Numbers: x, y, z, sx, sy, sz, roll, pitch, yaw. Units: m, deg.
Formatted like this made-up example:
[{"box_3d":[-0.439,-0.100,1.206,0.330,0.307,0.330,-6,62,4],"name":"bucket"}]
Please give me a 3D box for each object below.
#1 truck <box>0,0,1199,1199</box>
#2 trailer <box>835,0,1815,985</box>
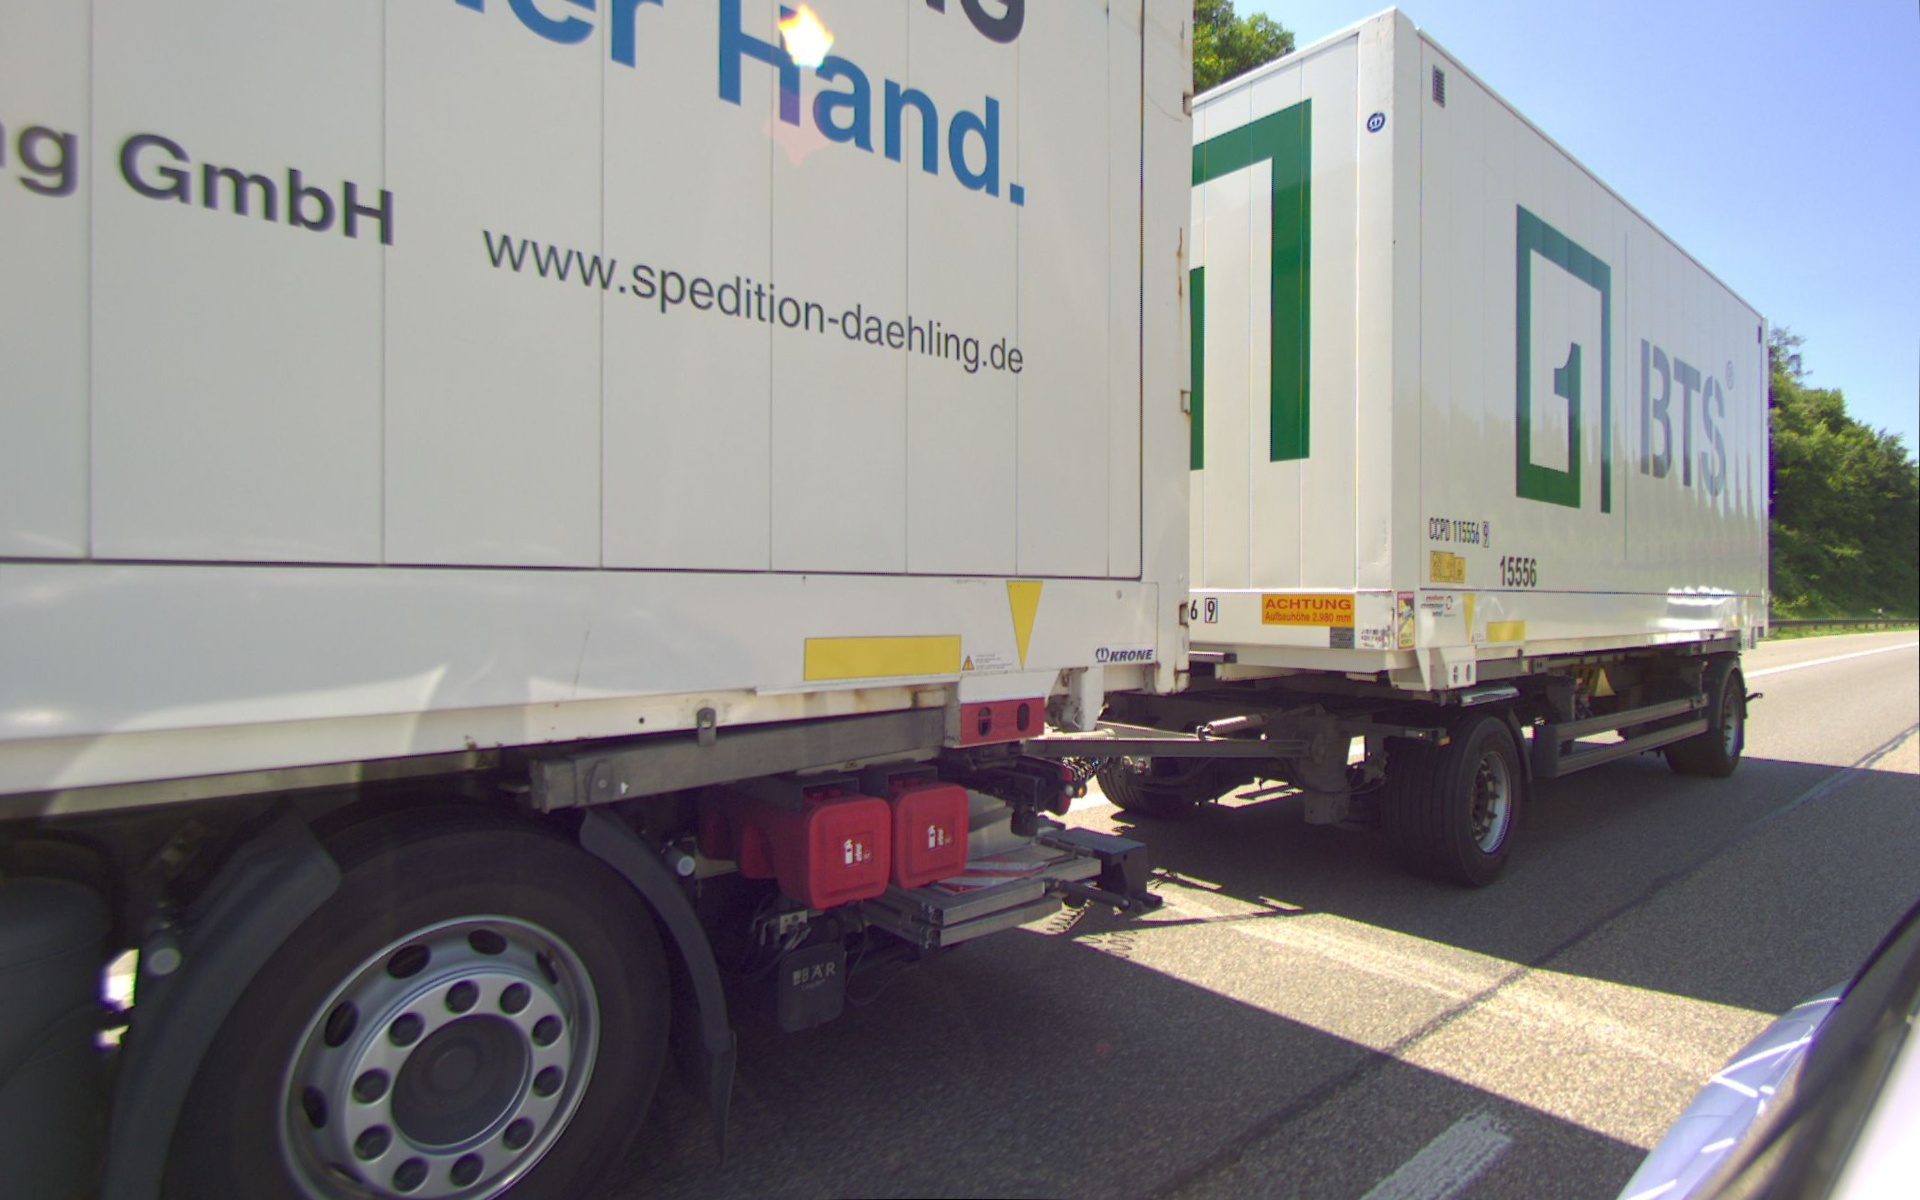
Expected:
[{"box_3d":[-4.068,-0.681,0.865,10.437,4.111,2.685,1,-1,-41],"name":"truck"},{"box_3d":[3.924,-0.715,7.826,9.889,4.229,2.684,1,-1,-41],"name":"trailer"}]
